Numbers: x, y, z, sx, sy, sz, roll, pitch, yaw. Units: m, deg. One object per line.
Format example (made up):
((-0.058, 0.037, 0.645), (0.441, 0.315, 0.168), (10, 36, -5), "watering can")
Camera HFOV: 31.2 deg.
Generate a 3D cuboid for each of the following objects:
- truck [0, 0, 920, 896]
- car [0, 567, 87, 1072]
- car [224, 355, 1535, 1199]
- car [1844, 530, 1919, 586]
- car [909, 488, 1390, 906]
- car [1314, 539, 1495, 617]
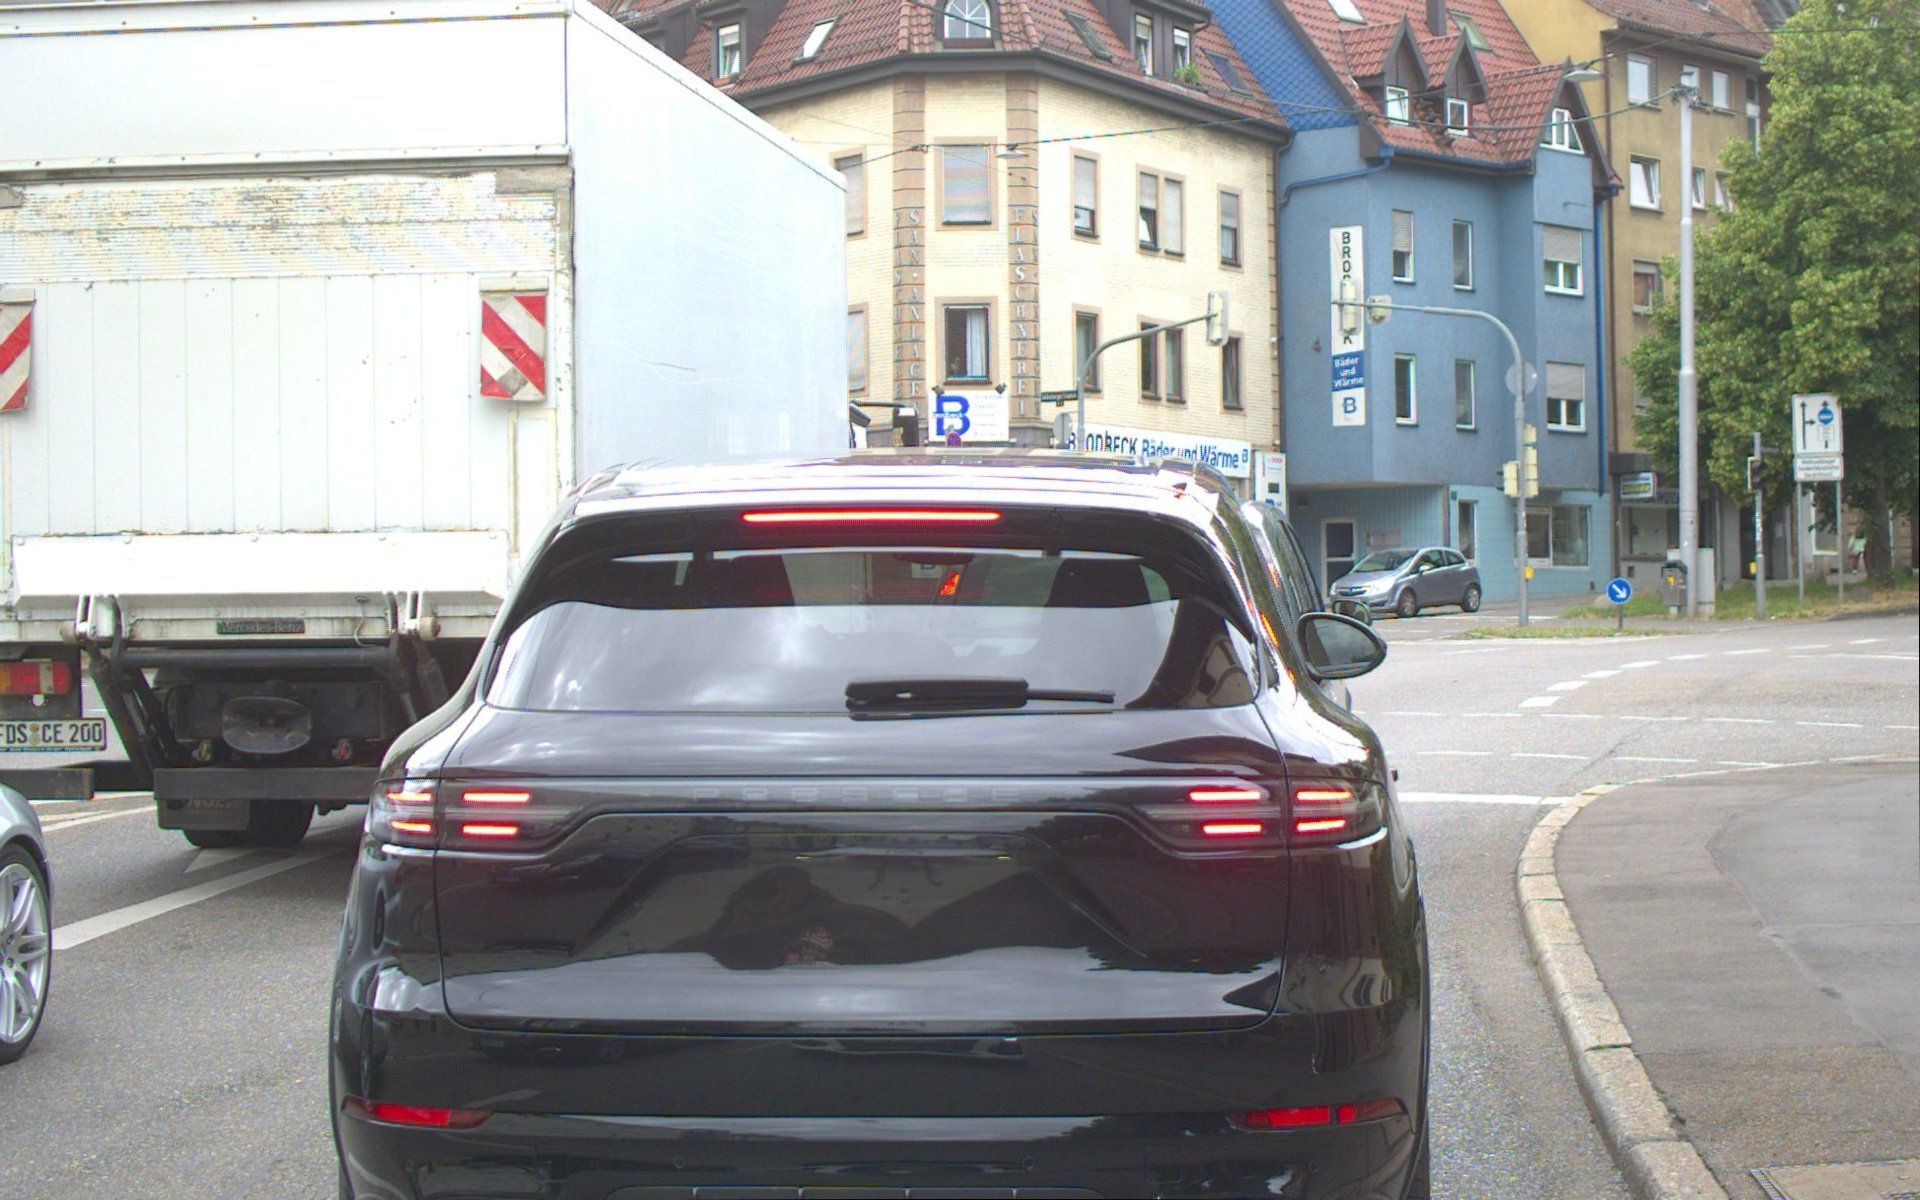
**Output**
((-2.211, -0.717, 17.327), (2.726, 3.532, 8.419), (-1, 1, 8), "truck")
((-3.506, 0.638, 8.035), (1.629, 1.360, 4.128), (-1, 1, 4), "car")
((-0.153, 0.465, 7.621), (2.031, 1.717, 4.500), (1, 1, -1), "car")
((25.246, -1.087, 90.573), (1.874, 1.411, 4.687), (1, 1, 41), "car")
((0.929, 0.345, 14.793), (1.649, 1.550, 3.581), (1, 1, 10), "car")
((9.234, -0.436, 71.186), (1.720, 1.471, 4.208), (0, -1, 40), "car")
